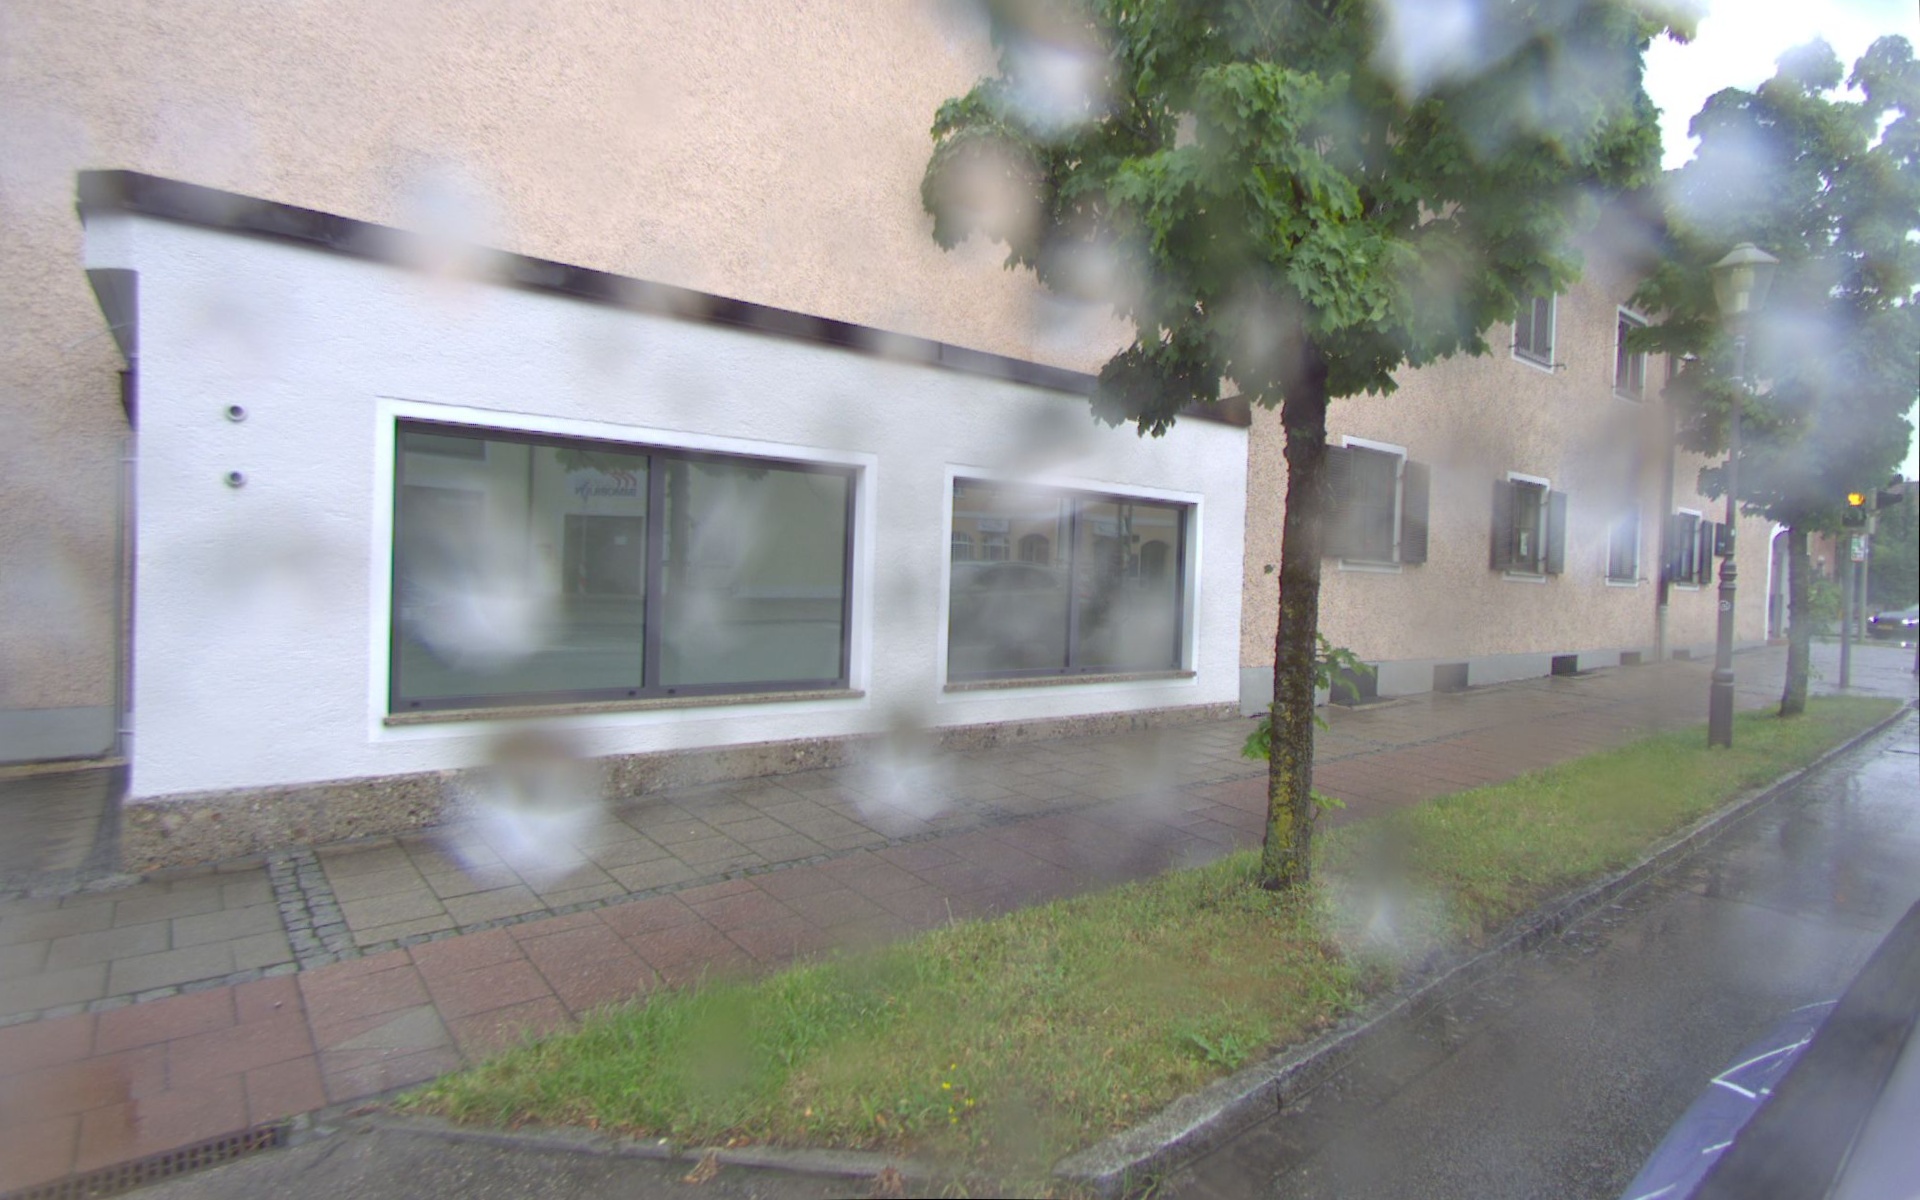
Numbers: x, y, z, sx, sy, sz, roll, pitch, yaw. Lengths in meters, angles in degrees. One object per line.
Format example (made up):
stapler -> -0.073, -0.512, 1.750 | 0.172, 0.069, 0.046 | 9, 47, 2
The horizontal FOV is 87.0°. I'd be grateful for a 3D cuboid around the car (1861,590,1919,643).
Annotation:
car -> 33.542, 0.622, 34.332 | 3.967, 1.685, 1.855 | 2, 2, 7
